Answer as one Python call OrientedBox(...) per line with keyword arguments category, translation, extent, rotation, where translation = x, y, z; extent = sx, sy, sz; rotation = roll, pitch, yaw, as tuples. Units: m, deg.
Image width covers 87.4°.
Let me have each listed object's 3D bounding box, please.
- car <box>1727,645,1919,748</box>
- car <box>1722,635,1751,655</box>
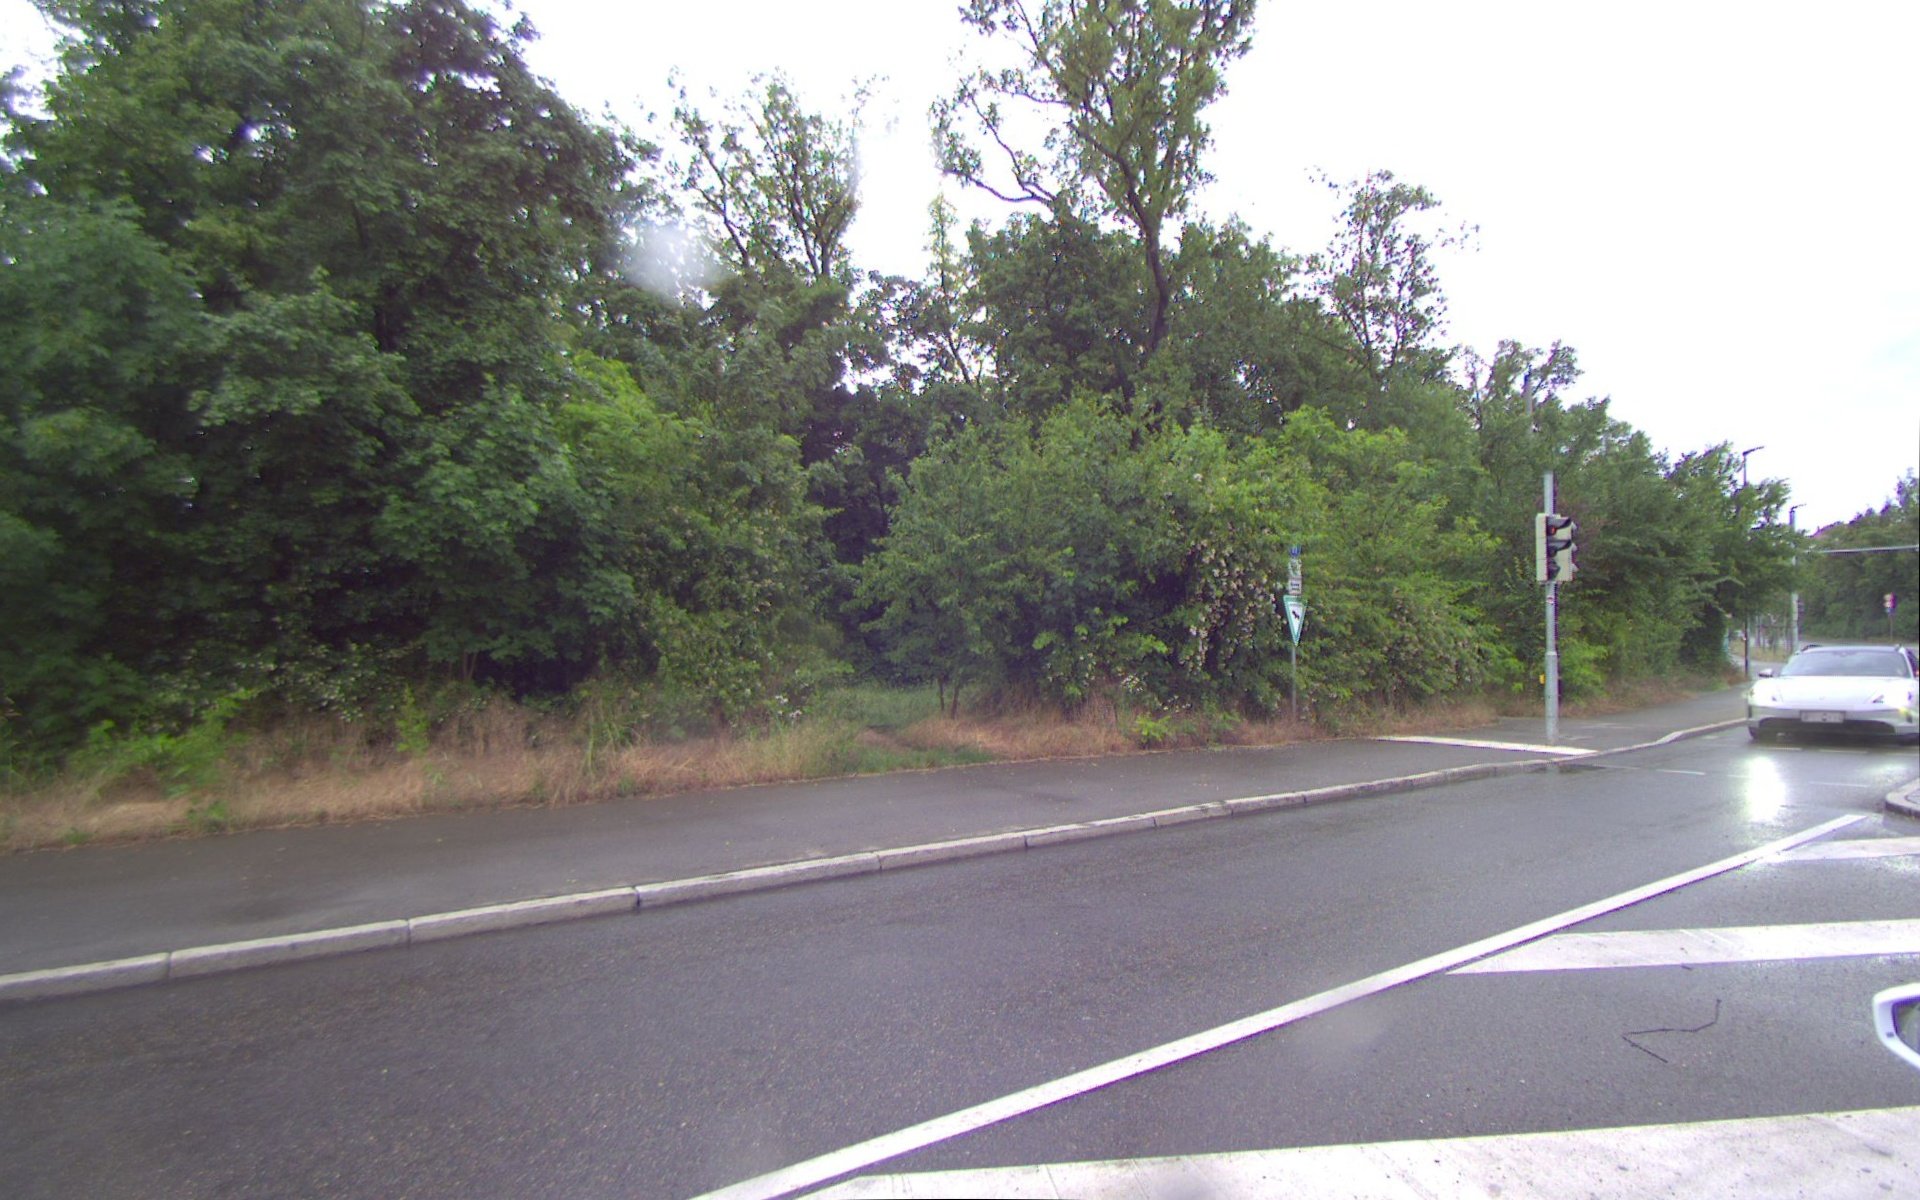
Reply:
OrientedBox(category="car", translation=(13.661, 1.401, 15.513), extent=(4.324, 1.328, 1.977), rotation=(1, -4, -40))
OrientedBox(category="car", translation=(82.638, 4.767, 106.932), extent=(1.965, 2.040, 3.992), rotation=(1, -1, 31))
